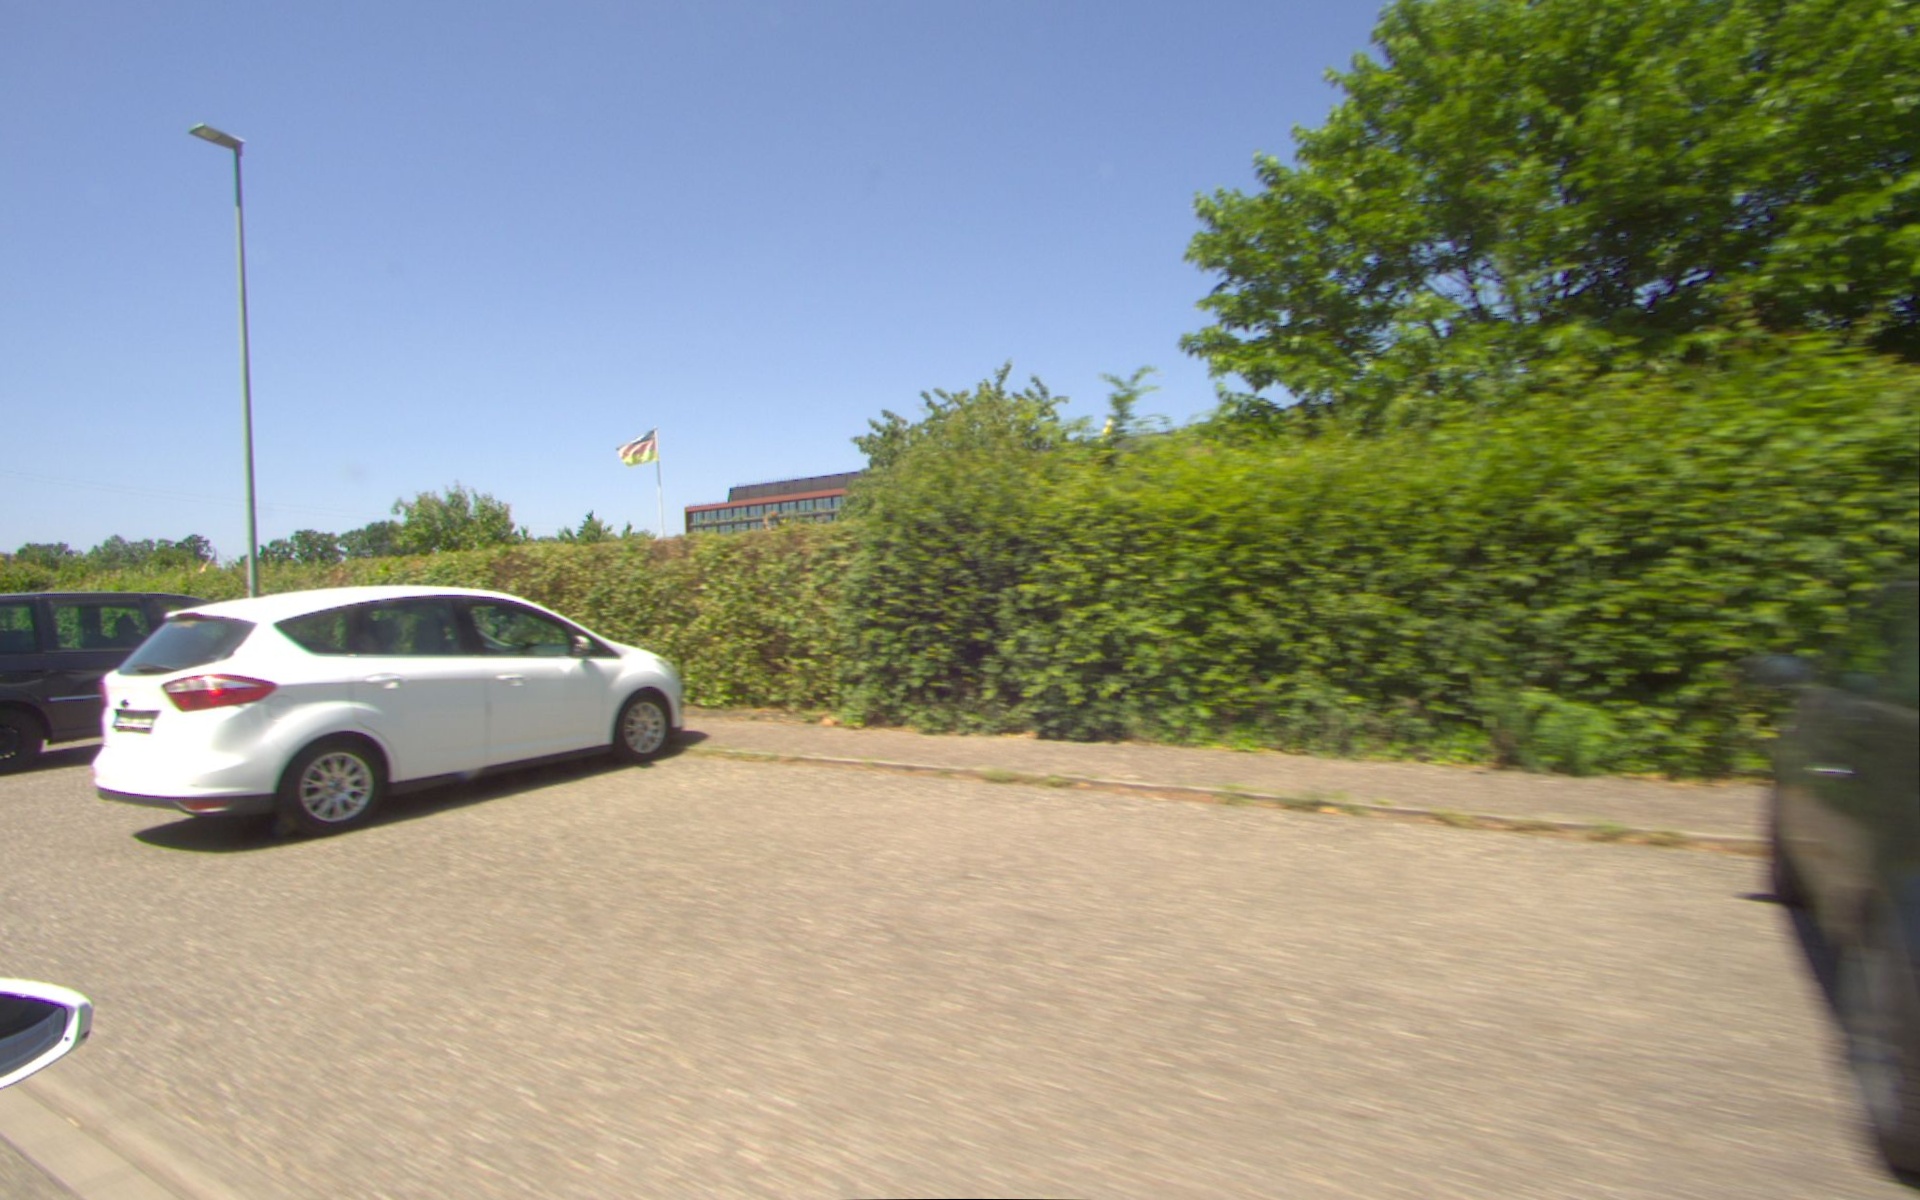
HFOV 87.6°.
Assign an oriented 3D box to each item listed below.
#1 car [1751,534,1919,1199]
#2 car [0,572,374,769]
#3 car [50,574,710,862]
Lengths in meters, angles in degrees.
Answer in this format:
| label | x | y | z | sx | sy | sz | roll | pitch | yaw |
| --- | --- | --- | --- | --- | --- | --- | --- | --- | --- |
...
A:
| label | x | y | z | sx | sy | sz | roll | pitch | yaw |
| --- | --- | --- | --- | --- | --- | --- | --- | --- | --- |
| car | 3.542 | 0.573 | 3.010 | 1.566 | 1.524 | 3.376 | 0 | 2 | 34 |
| car | -9.427 | 0.669 | 11.304 | 1.922 | 1.829 | 4.447 | -1 | 2 | 27 |
| car | -4.189 | 0.645 | 8.068 | 1.739 | 1.600 | 4.268 | 0 | 2 | 29 |
